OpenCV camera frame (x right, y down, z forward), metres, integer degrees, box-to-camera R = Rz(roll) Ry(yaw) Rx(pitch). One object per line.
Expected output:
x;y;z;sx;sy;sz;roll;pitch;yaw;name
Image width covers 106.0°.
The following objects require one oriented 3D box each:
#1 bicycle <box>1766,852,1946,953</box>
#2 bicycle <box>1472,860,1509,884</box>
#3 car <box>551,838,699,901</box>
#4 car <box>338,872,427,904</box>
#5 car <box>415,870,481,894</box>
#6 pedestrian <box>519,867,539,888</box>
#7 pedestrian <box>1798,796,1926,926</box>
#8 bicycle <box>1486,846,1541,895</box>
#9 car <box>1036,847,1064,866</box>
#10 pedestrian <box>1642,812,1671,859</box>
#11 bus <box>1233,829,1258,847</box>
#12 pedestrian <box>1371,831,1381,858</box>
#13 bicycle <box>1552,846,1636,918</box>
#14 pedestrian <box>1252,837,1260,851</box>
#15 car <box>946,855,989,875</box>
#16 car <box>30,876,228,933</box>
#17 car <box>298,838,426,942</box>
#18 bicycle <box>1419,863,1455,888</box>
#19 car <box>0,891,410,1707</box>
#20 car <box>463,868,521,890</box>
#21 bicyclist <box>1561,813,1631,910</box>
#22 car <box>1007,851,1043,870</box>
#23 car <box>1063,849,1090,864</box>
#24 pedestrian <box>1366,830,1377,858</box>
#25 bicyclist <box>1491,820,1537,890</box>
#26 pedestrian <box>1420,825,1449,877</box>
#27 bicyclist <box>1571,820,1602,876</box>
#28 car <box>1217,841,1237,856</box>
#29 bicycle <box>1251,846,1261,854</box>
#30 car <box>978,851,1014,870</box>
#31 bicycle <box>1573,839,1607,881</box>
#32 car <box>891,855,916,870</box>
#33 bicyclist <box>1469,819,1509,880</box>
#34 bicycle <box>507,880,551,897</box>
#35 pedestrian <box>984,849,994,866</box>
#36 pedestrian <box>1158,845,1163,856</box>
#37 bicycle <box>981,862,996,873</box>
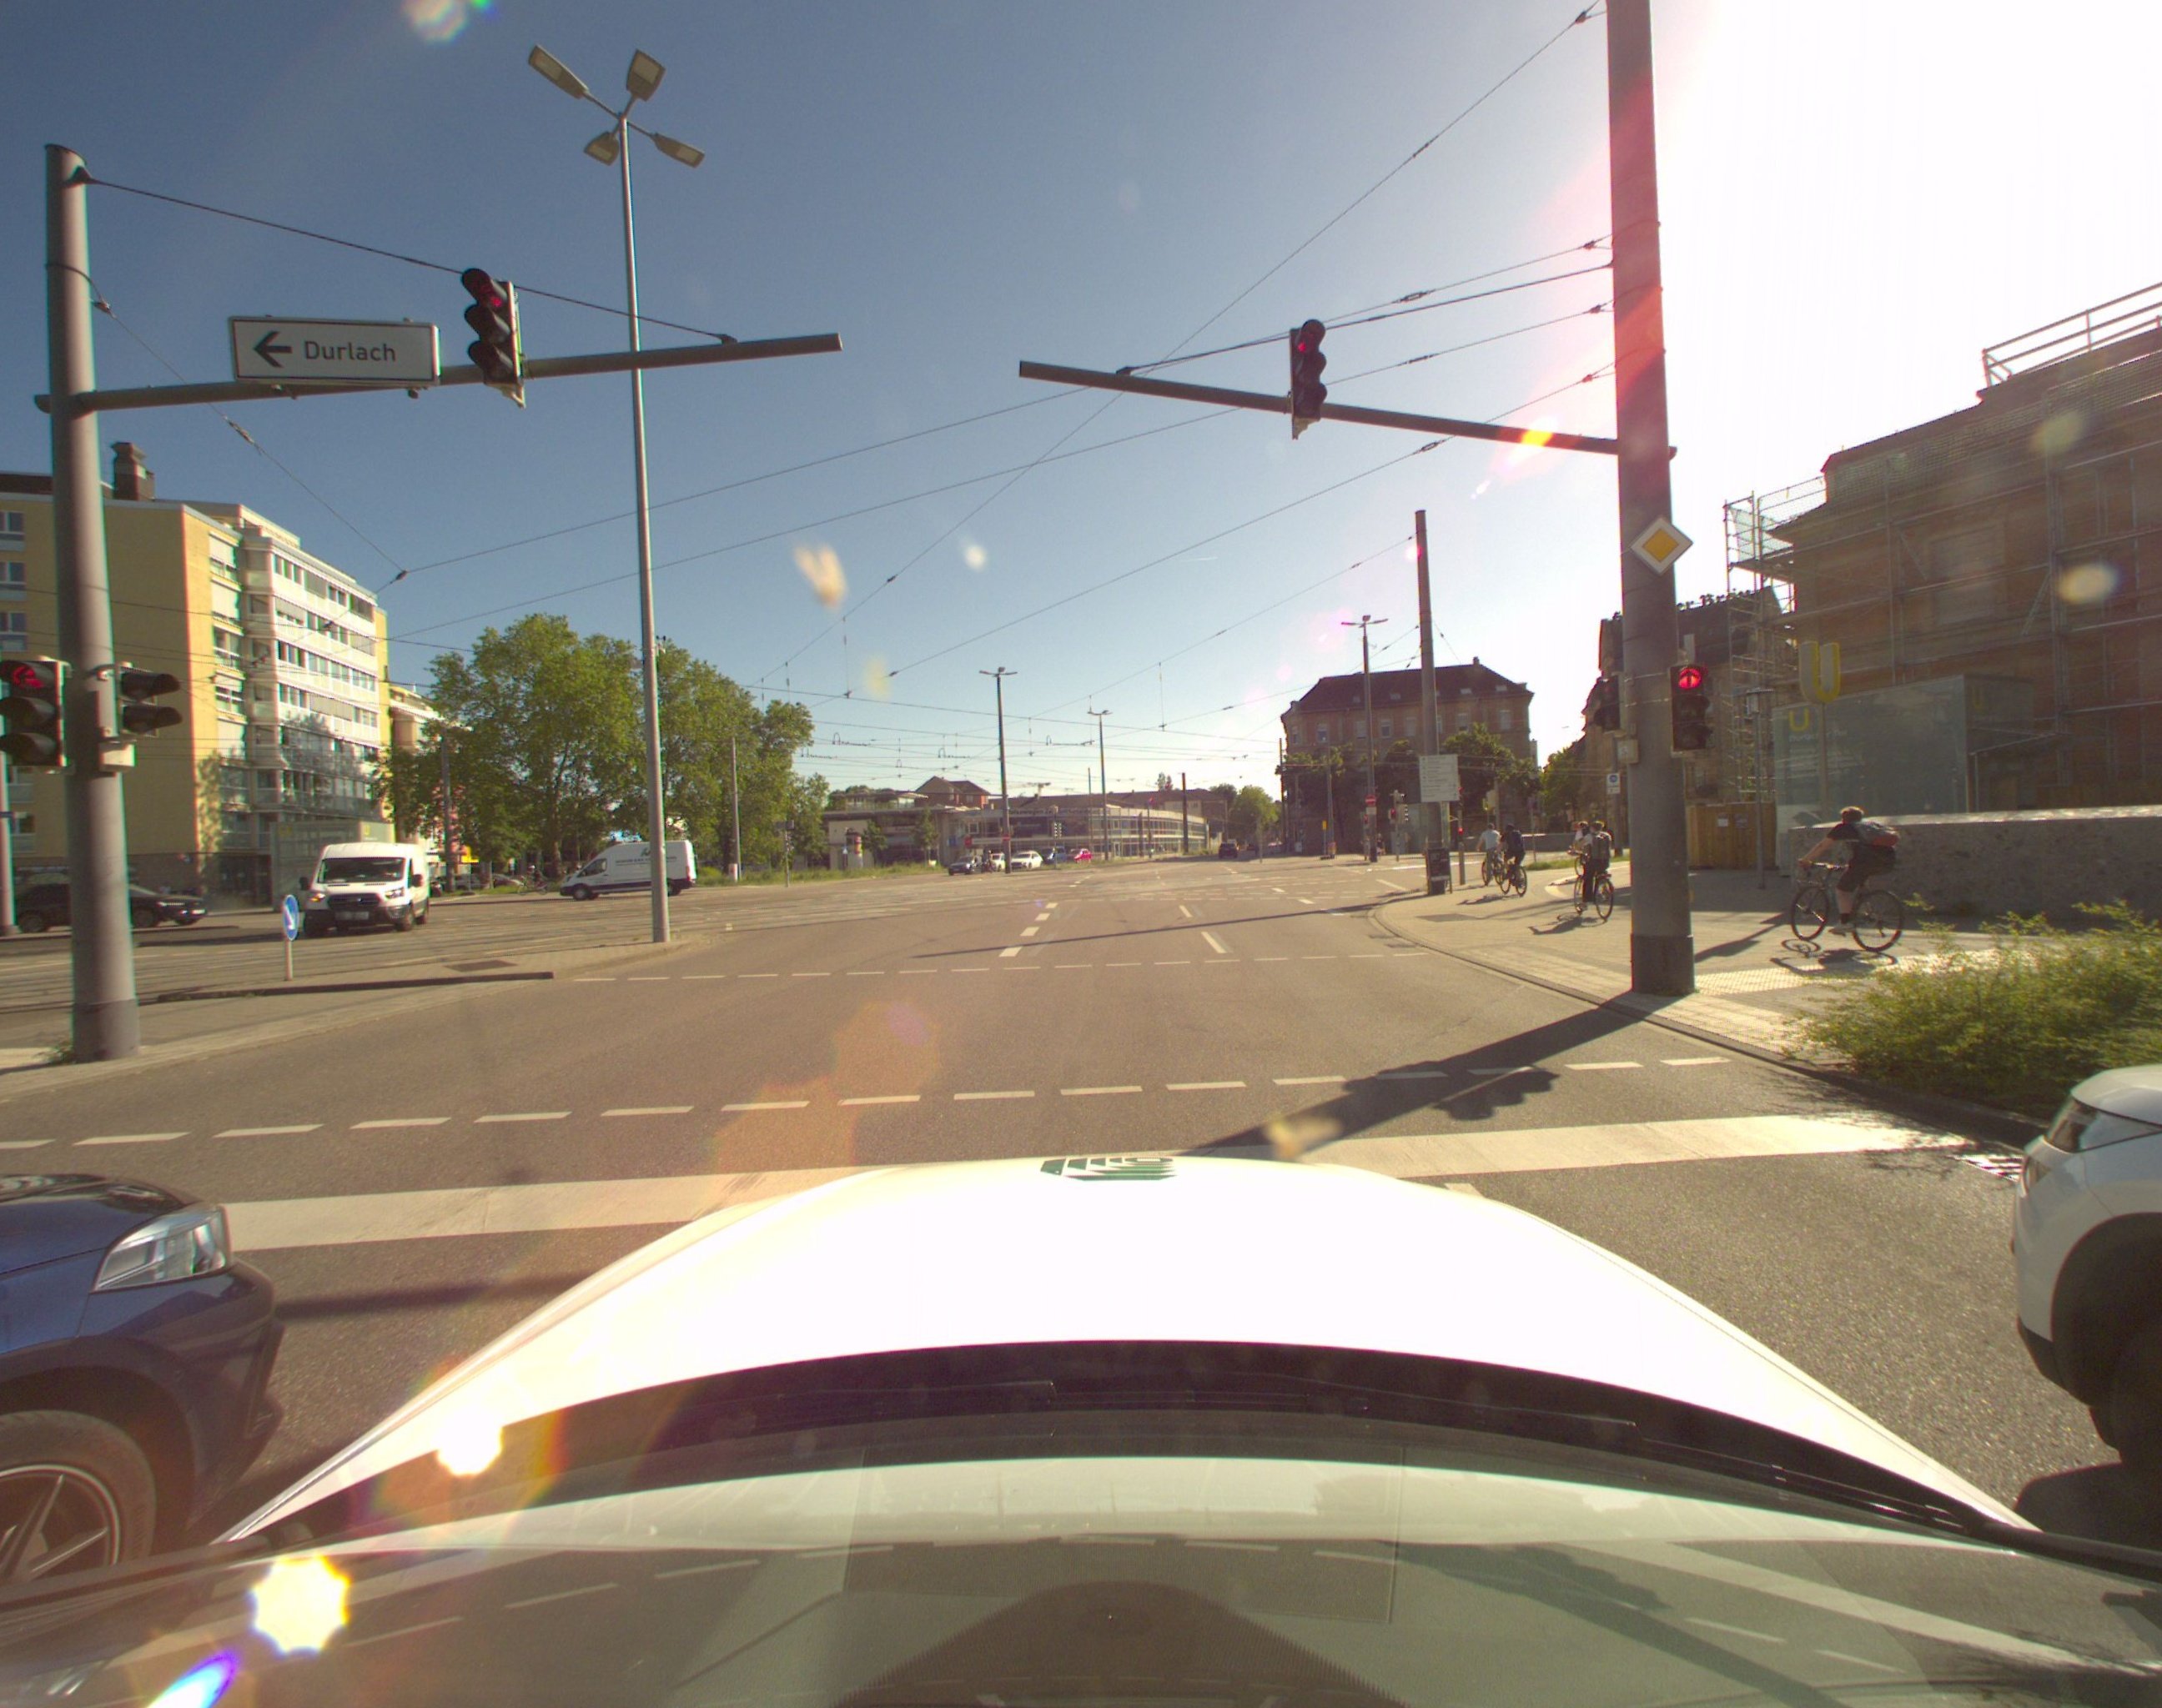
9.109;0.524;9.677;0.513;1.044;1.771;-4;0;5;bicycle
12.346;0.536;24.591;0.534;0.655;1.471;-3;0;9;bicycle
-22.308;0.729;40.176;5.920;2.744;2.131;-2;0;-18;car
-42.800;2.058;49.981;3.742;1.662;1.585;-2;0;-18;car
-49.761;2.153;64.111;3.742;1.662;1.585;-2;0;-18;car
-32.566;1.393;48.044;0.796;1.204;0.557;-2;0;-18;pedestrian
9.039;0.080;9.467;0.513;1.402;0.963;-4;0;5;pedestrian
10.631;0.379;20.067;0.621;1.114;1.857;-5;0;12;bicycle
-2.994;0.242;79.217;1.613;1.692;3.702;-2;0;17;car
23.344;-0.751;33.033;0.887;1.859;0.933;-2;0;36;pedestrian
37.365;-3.445;184.307;3.808;3.607;24.967;-1;0;15;bus
21.857;-0.712;60.308;0.461;2.013;0.449;-3;0;-16;pedestrian
9.117;0.466;14.554;0.680;1.163;1.891;-4;0;15;bicycle
20.774;-1.176;96.490;0.796;1.632;0.722;-2;0;22;pedestrian
-8.501;0.796;61.245;1.689;1.354;3.719;-2;0;19;car
-32.688;1.696;28.107;4.064;1.659;1.862;-2;0;-14;car
-19.765;0.920;22.635;2.009;2.508;5.360;-2;0;-35;car
10.879;0.649;24.955;0.534;0.655;1.730;-5;0;9;bicycle
-2.679;0.828;0.118;1.704;1.445;4.034;-1;0;2;car
-51.335;2.181;71.034;3.742;1.662;1.585;-2;0;-18;car
9.042;0.123;14.335;0.680;1.598;0.981;-4;0;15;bicyclist
-4.476;0.519;65.225;1.613;1.382;3.754;-2;0;17;car
-0.442;0.250;86.288;1.613;1.364;3.703;-2;0;18;car
21.300;-0.709;59.710;0.574;2.013;0.449;-3;0;-16;pedestrian
10.571;0.024;19.923;0.621;1.637;0.998;-5;-1;11;bicyclist
10.804;-0.089;24.884;0.545;1.562;0.860;-2;0;8;pedestrian
14.583;-0.177;23.513;0.566;1.568;0.952;-3;0;23;bicyclist
15.708;-0.633;87.432;1.686;1.503;4.283;-2;0;16;car
20.650;-0.454;96.038;0.736;0.870;1.941;-2;0;22;bicycle
-6.982;0.553;67.168;1.613;1.424;3.702;-2;0;17;car
14.657;0.151;23.499;0.566;1.125;1.750;-3;0;24;bicycle
-21.871;1.077;100.596;1.958;1.706;4.085;-2;0;2;car
12.266;-0.137;24.486;0.742;1.778;0.926;-3;0;9;bicyclist
-32.559;2.019;48.040;2.010;0.913;0.559;-2;0;-18;bicycle
-6.853;0.270;60.833;0.419;1.204;0.753;-2;0;19;pedestrian
12.026;-0.542;123.571;0.538;1.688;0.633;-2;0;21;pedestrian
-6.878;0.996;60.672;0.419;0.718;1.642;-2;0;19;bicycle
